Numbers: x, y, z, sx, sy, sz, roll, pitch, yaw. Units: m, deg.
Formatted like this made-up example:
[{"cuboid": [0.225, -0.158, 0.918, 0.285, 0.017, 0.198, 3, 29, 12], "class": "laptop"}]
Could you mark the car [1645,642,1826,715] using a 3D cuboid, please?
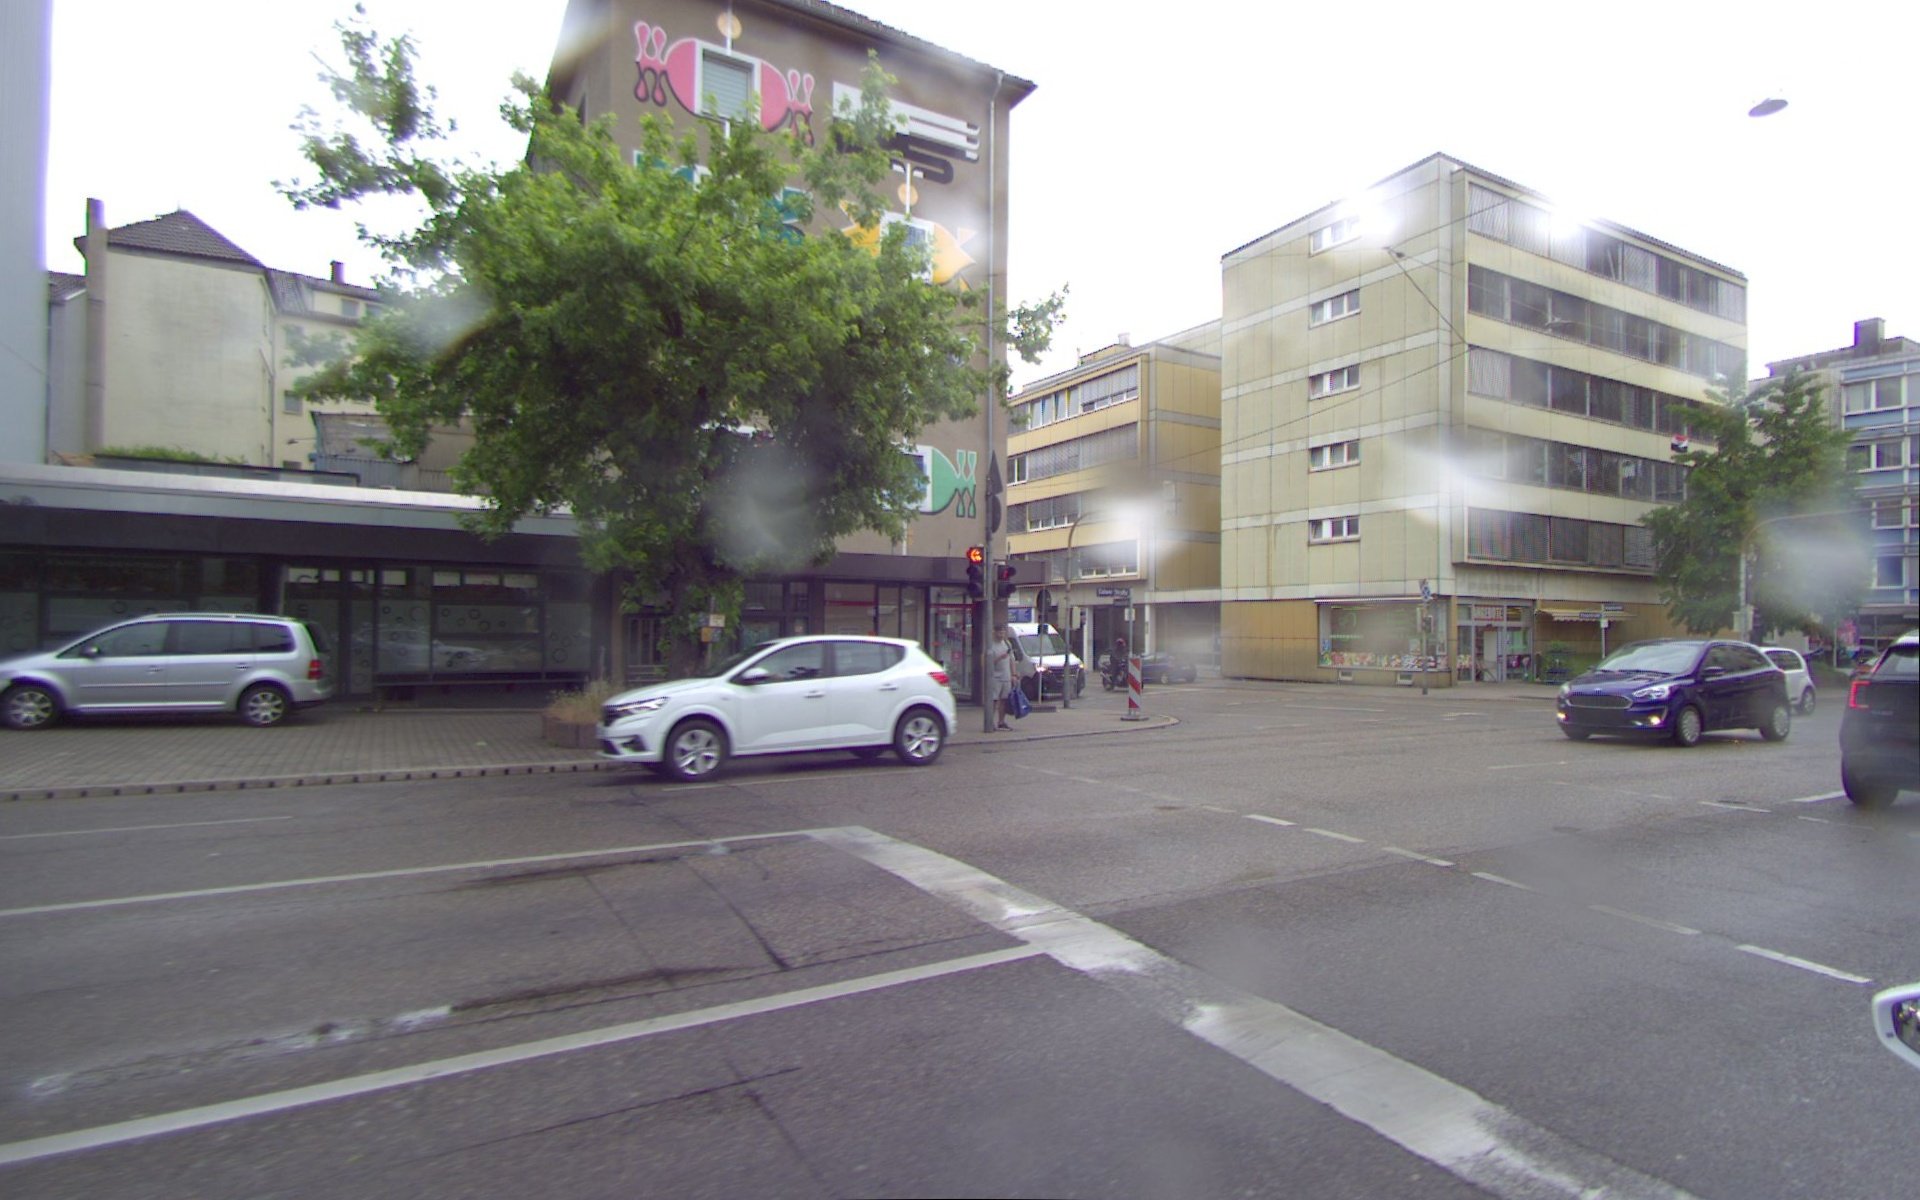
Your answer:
[{"cuboid": [17.272, 1.720, 22.363, 3.745, 1.497, 1.773, 1, -5, -28], "class": "car"}]

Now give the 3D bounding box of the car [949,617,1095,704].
[{"cuboid": [2.003, 2.125, 34.658, 2.161, 2.747, 5.732, 2, -4, -31], "class": "car"}]

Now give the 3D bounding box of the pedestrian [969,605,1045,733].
[{"cuboid": [0.780, 1.136, 16.748, 0.879, 2.040, 0.933, 2, -3, -39], "class": "pedestrian"}]

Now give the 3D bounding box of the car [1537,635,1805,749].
[{"cuboid": [10.644, 1.308, 15.026, 3.767, 1.511, 1.780, 1, -4, -29], "class": "car"}]

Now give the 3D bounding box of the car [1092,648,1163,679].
[{"cuboid": [9.354, 3.541, 56.013, 3.660, 1.598, 1.742, 0, -3, -35], "class": "car"}]

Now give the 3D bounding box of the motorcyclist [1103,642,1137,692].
[{"cuboid": [5.483, 2.303, 34.442, 0.908, 1.684, 0.704, -3, -5, 43], "class": "motorcyclist"}]

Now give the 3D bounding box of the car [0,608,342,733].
[{"cuboid": [-12.012, 1.006, 15.213, 4.460, 1.676, 1.983, 2, -2, -32], "class": "car"}]

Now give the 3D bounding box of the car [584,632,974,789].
[{"cuboid": [-2.079, 1.179, 11.613, 4.037, 1.513, 1.986, 1, -5, -28], "class": "car"}]

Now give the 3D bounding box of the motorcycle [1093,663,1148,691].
[{"cuboid": [5.484, 2.627, 34.438, 1.833, 0.947, 0.614, -3, -4, 44], "class": "motorcycle"}]

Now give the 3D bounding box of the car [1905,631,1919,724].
[{"cuboid": [21.307, 1.556, 20.433, 4.353, 1.839, 1.772, 1, -3, -29], "class": "car"}]

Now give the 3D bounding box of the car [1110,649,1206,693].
[{"cuboid": [9.135, 3.290, 46.728, 2.008, 1.944, 4.419, 1, -4, -28], "class": "car"}]
